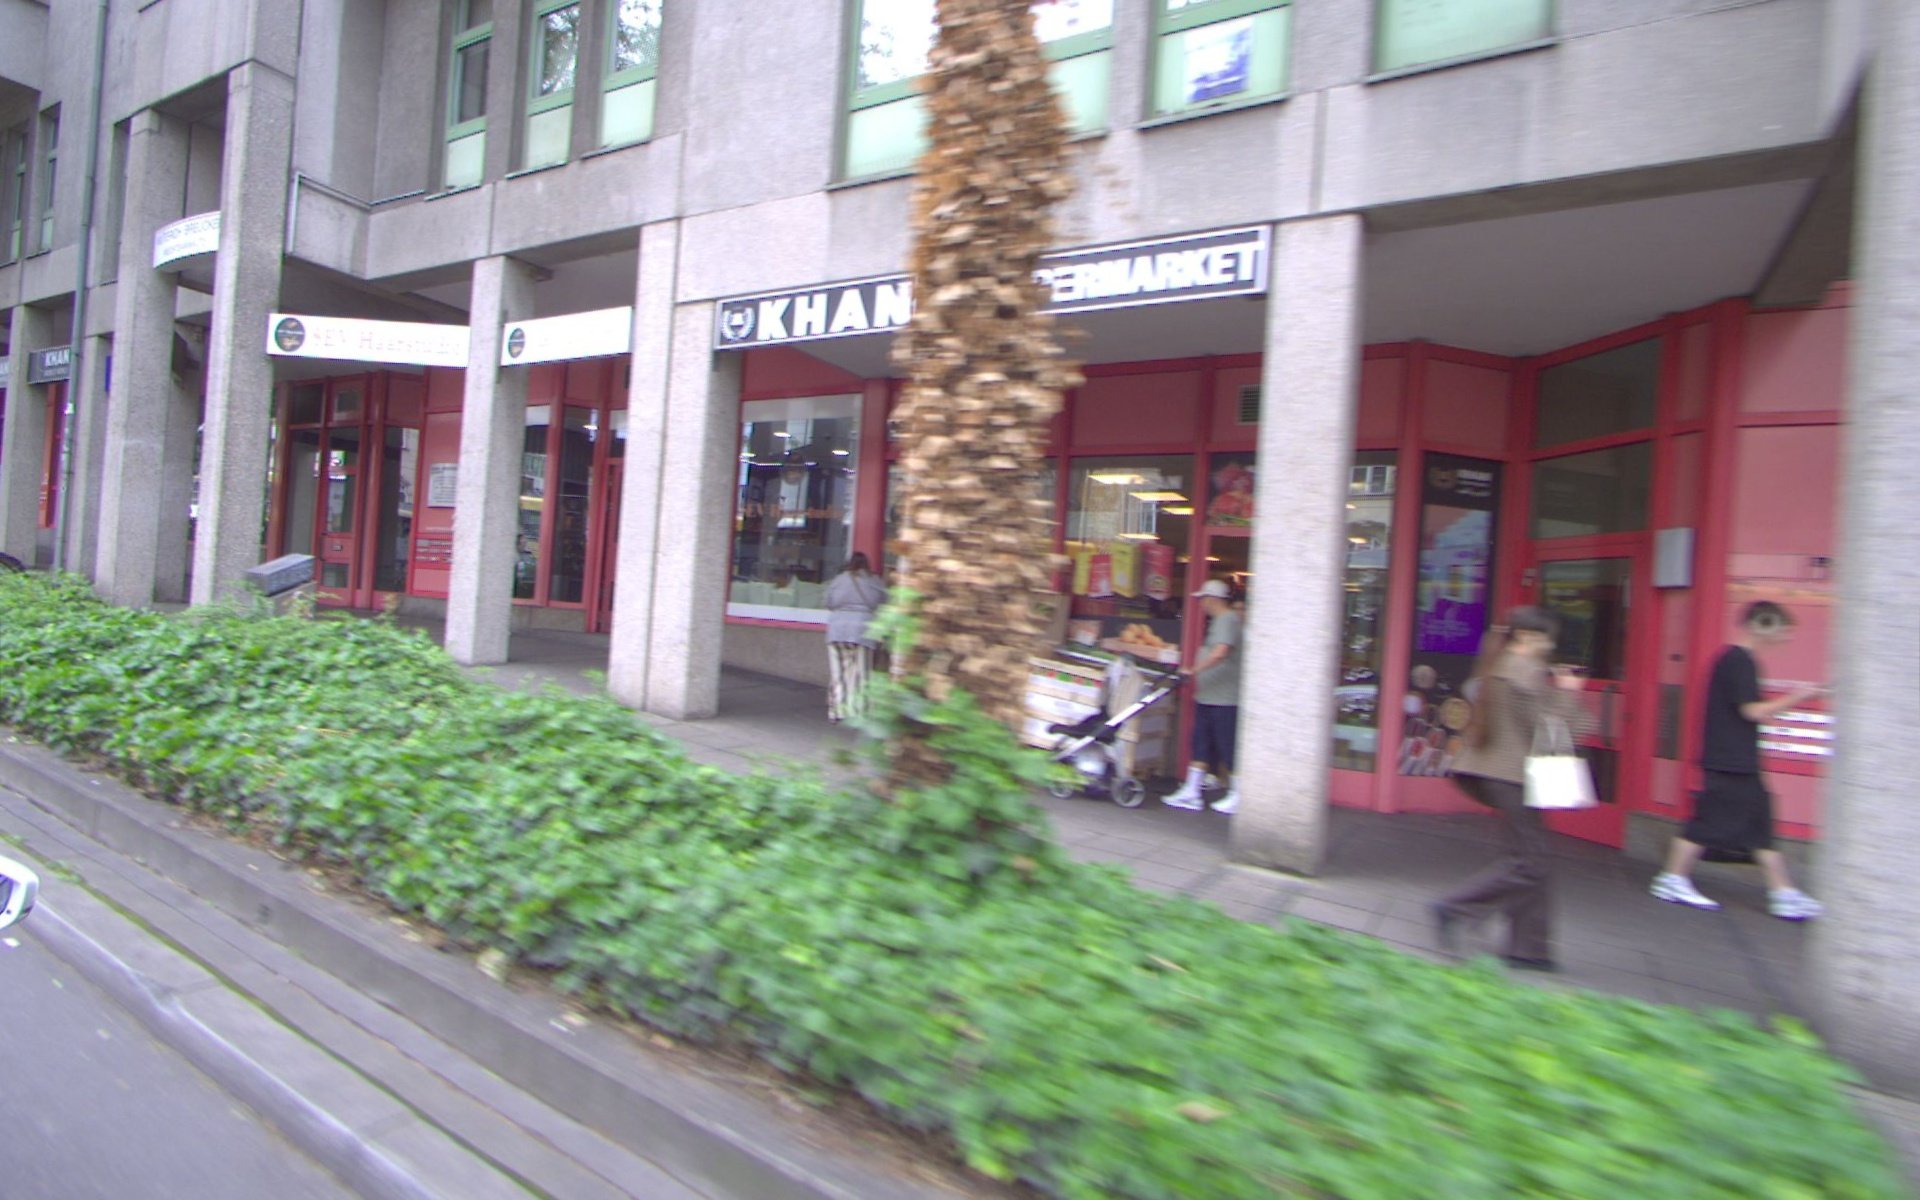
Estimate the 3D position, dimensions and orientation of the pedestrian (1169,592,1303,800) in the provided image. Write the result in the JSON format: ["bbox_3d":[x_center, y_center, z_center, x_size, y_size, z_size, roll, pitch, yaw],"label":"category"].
[{"bbox_3d":[2.379,0.802,8.674,0.752,1.633,0.616,9,3,35],"label":"pedestrian"}]

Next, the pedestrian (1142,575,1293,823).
[{"bbox_3d":[1.916,0.716,7.573,0.666,1.745,0.761,4,1,-18],"label":"pedestrian"}]

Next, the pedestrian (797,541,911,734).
[{"bbox_3d":[-0.983,0.331,9.207,0.768,1.633,0.615,6,3,-17],"label":"pedestrian"}]

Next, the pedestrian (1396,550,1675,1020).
[{"bbox_3d":[2.501,0.737,4.474,0.833,1.806,0.763,6,2,26],"label":"pedestrian"}]

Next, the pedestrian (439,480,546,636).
[{"bbox_3d":[-5.858,-0.509,12.614,0.712,1.827,0.831,9,4,34],"label":"pedestrian"}]

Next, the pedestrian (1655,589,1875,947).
[{"bbox_3d":[4.578,0.897,5.799,0.711,1.827,0.832,7,2,32],"label":"pedestrian"}]

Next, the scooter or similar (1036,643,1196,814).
[{"bbox_3d":[1.137,0.935,7.471,0.845,1.124,0.762,5,1,-16],"label":"scooter or similar"}]

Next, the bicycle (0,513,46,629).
[{"bbox_3d":[-9.689,-0.312,9.146,0.603,1.091,1.917,6,2,29],"label":"bicycle"}]
